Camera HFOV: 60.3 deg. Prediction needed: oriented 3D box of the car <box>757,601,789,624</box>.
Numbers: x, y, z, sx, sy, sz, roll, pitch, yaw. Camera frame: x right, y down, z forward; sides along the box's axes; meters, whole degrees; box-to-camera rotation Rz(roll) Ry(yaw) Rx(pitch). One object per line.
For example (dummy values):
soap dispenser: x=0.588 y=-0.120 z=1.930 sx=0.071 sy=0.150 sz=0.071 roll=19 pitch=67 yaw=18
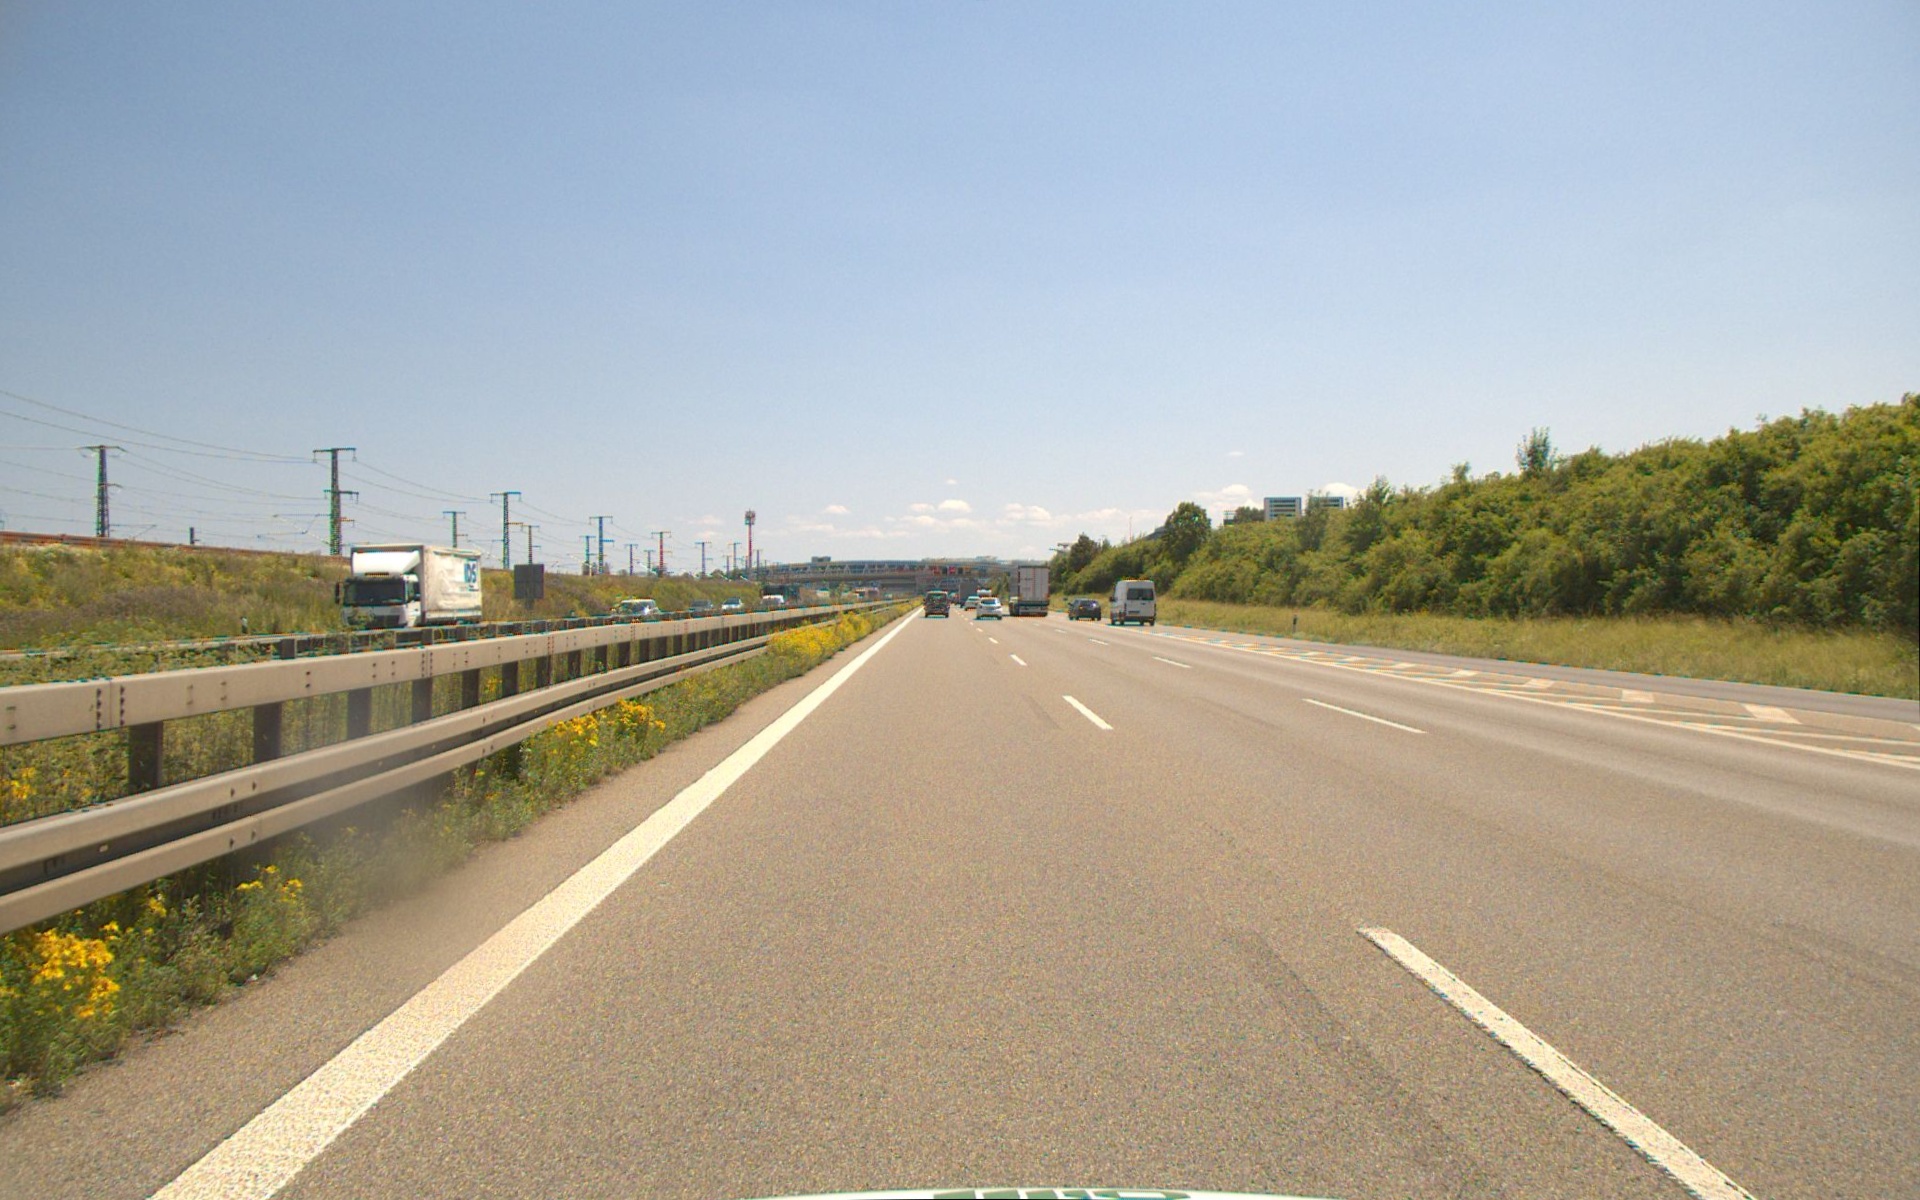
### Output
car: x=-13.765 y=0.903 z=121.804 sx=1.881 sy=1.639 sz=5.394 roll=-2 pitch=0 yaw=-2

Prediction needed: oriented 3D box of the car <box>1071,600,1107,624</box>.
car: x=8.876 y=0.833 z=114.220 sx=1.954 sy=1.534 sz=3.997 roll=2 pitch=-1 yaw=-3

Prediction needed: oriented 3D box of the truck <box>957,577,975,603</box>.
truck: x=0.813 y=-1.287 z=223.325 sx=2.307 sy=3.476 sz=6.056 roll=0 pitch=0 yaw=-1

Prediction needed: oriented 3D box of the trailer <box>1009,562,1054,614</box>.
trailer: x=5.782 y=-0.964 z=135.668 sx=3.113 sy=4.130 sz=9.438 roll=-1 pitch=0 yaw=-1

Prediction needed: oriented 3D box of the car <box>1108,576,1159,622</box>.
car: x=10.061 y=-0.067 z=96.459 sx=2.228 sy=2.572 sz=5.397 roll=1 pitch=0 yaw=-2

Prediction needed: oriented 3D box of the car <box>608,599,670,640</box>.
car: x=-13.603 y=0.794 z=70.287 sx=1.881 sy=1.639 sz=3.999 roll=-2 pitch=0 yaw=-1

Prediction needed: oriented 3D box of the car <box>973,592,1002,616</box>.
car: x=1.890 y=0.270 z=111.639 sx=1.842 sy=1.553 sz=4.001 roll=1 pitch=-1 yaw=2

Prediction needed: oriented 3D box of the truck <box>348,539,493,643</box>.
truck: x=-19.898 y=-0.319 z=61.506 sx=2.799 sy=3.527 sz=7.779 roll=2 pitch=0 yaw=-1

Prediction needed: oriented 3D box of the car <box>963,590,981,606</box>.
car: x=1.298 y=-0.201 z=178.228 sx=1.842 sy=1.553 sz=4.000 roll=1 pitch=-1 yaw=0

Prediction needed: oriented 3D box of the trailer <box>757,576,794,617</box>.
trailer: x=-18.165 y=-0.348 z=163.467 sx=2.989 sy=3.935 sz=7.201 roll=0 pitch=0 yaw=-1

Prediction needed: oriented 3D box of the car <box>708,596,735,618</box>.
car: x=-22.696 y=0.684 z=157.644 sx=1.953 sy=2.049 sz=4.494 roll=-2 pitch=-1 yaw=-1

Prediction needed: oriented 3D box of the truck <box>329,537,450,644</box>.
truck: x=-19.858 y=-0.320 z=57.796 sx=2.790 sy=3.527 sz=4.022 roll=2 pitch=0 yaw=-1

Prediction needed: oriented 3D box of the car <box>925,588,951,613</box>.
car: x=-1.577 y=0.054 z=119.712 sx=1.842 sy=1.806 sz=3.999 roll=0 pitch=-1 yaw=-1
